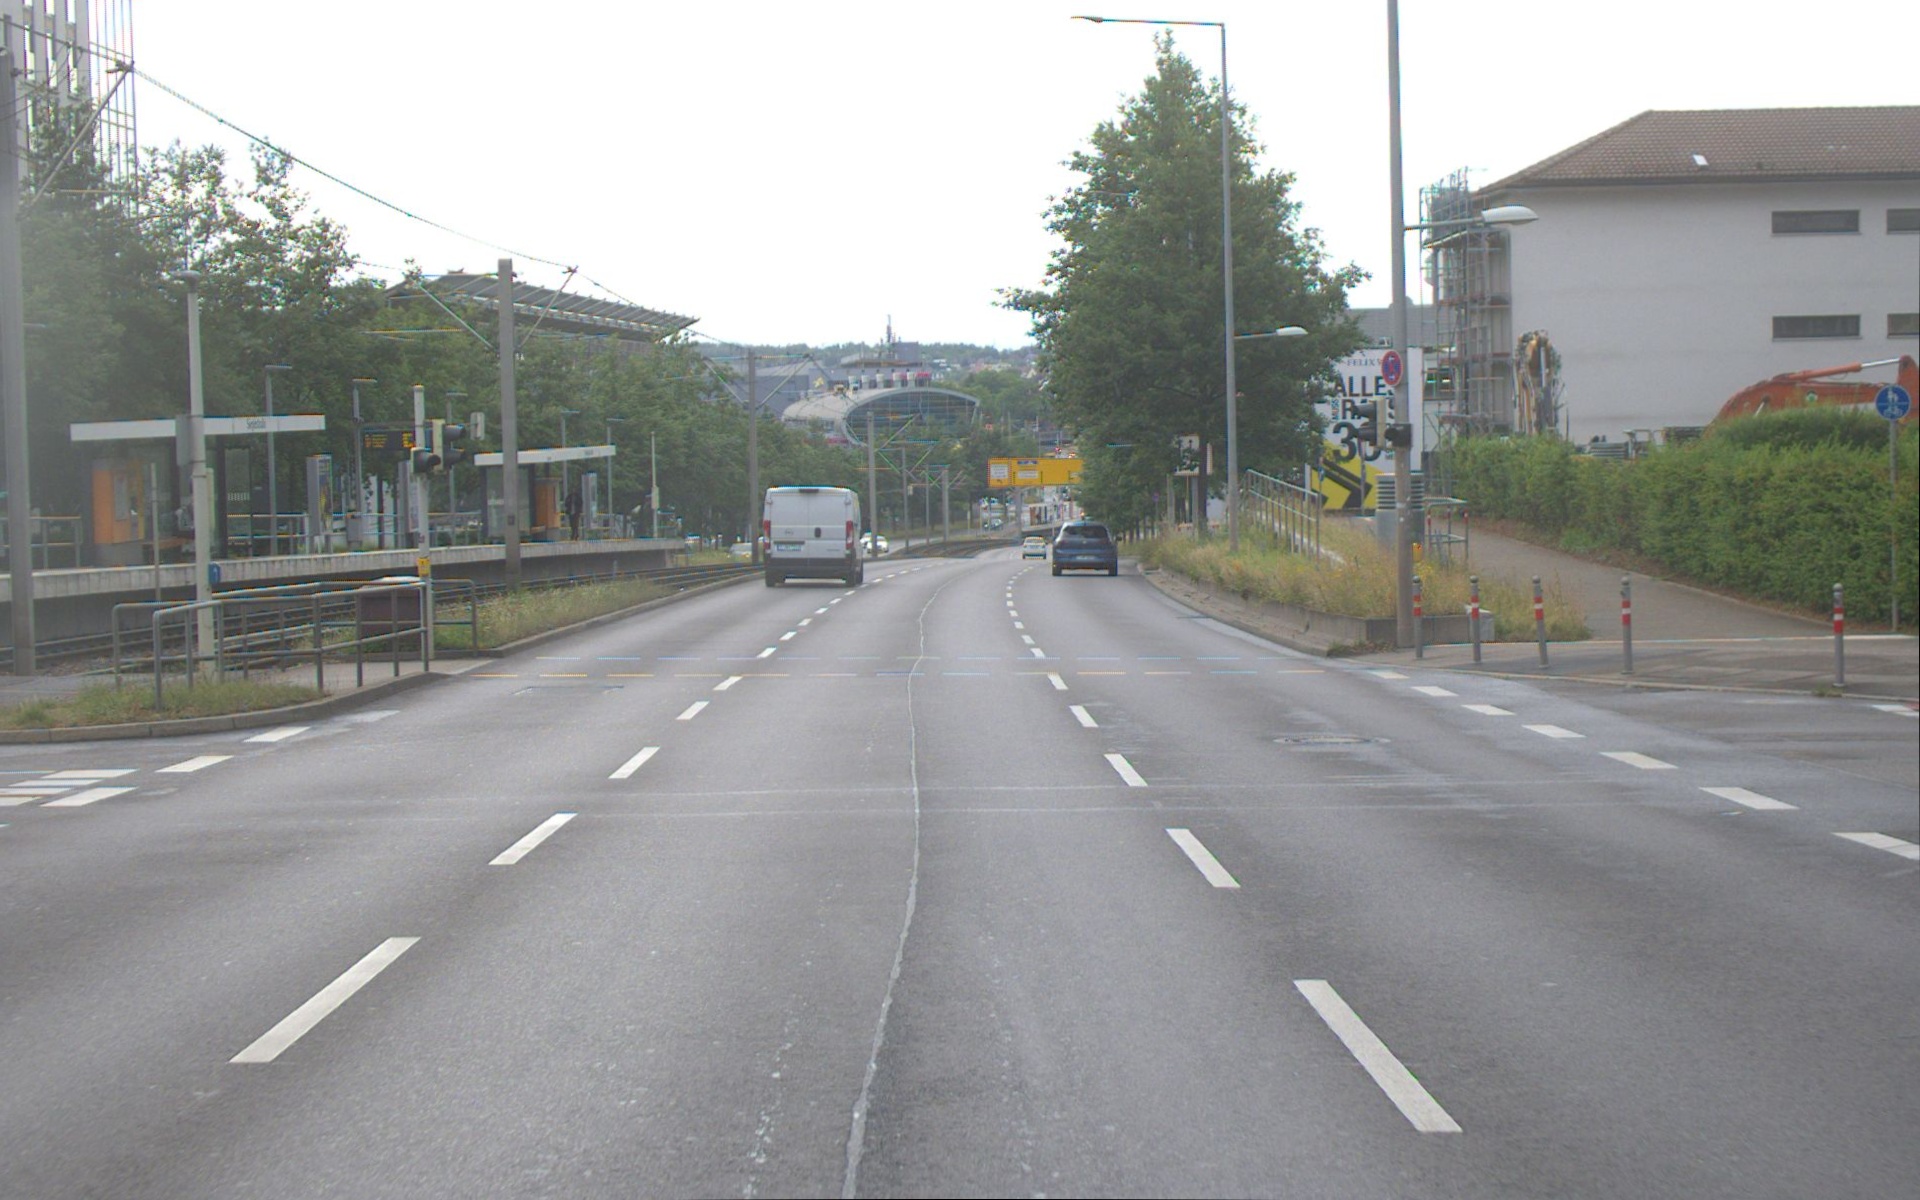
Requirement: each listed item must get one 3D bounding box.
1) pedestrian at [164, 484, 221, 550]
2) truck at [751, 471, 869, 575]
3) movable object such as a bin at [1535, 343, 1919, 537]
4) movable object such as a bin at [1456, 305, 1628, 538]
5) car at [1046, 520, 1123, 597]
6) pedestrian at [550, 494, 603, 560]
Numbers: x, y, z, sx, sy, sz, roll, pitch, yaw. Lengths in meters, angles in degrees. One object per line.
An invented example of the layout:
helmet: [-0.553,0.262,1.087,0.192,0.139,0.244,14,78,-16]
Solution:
pedestrian: [-15.414,-1.662,69.074,0.961,1.295,0.684,-1,1,1]
truck: [-3.376,-1.733,78.336,2.360,2.254,5.306,1,1,1]
movable object such as a bin: [23.177,-4.614,100.027,12.141,5.243,3.789,-1,1,1]
movable object such as a bin: [15.002,-4.490,89.254,3.290,5.665,8.763,1,1,3]
car: [3.388,-1.128,92.781,1.994,2.007,3.934,1,1,3]
pedestrian: [-11.737,-2.227,105.224,1.267,2.007,1.129,1,1,18]
